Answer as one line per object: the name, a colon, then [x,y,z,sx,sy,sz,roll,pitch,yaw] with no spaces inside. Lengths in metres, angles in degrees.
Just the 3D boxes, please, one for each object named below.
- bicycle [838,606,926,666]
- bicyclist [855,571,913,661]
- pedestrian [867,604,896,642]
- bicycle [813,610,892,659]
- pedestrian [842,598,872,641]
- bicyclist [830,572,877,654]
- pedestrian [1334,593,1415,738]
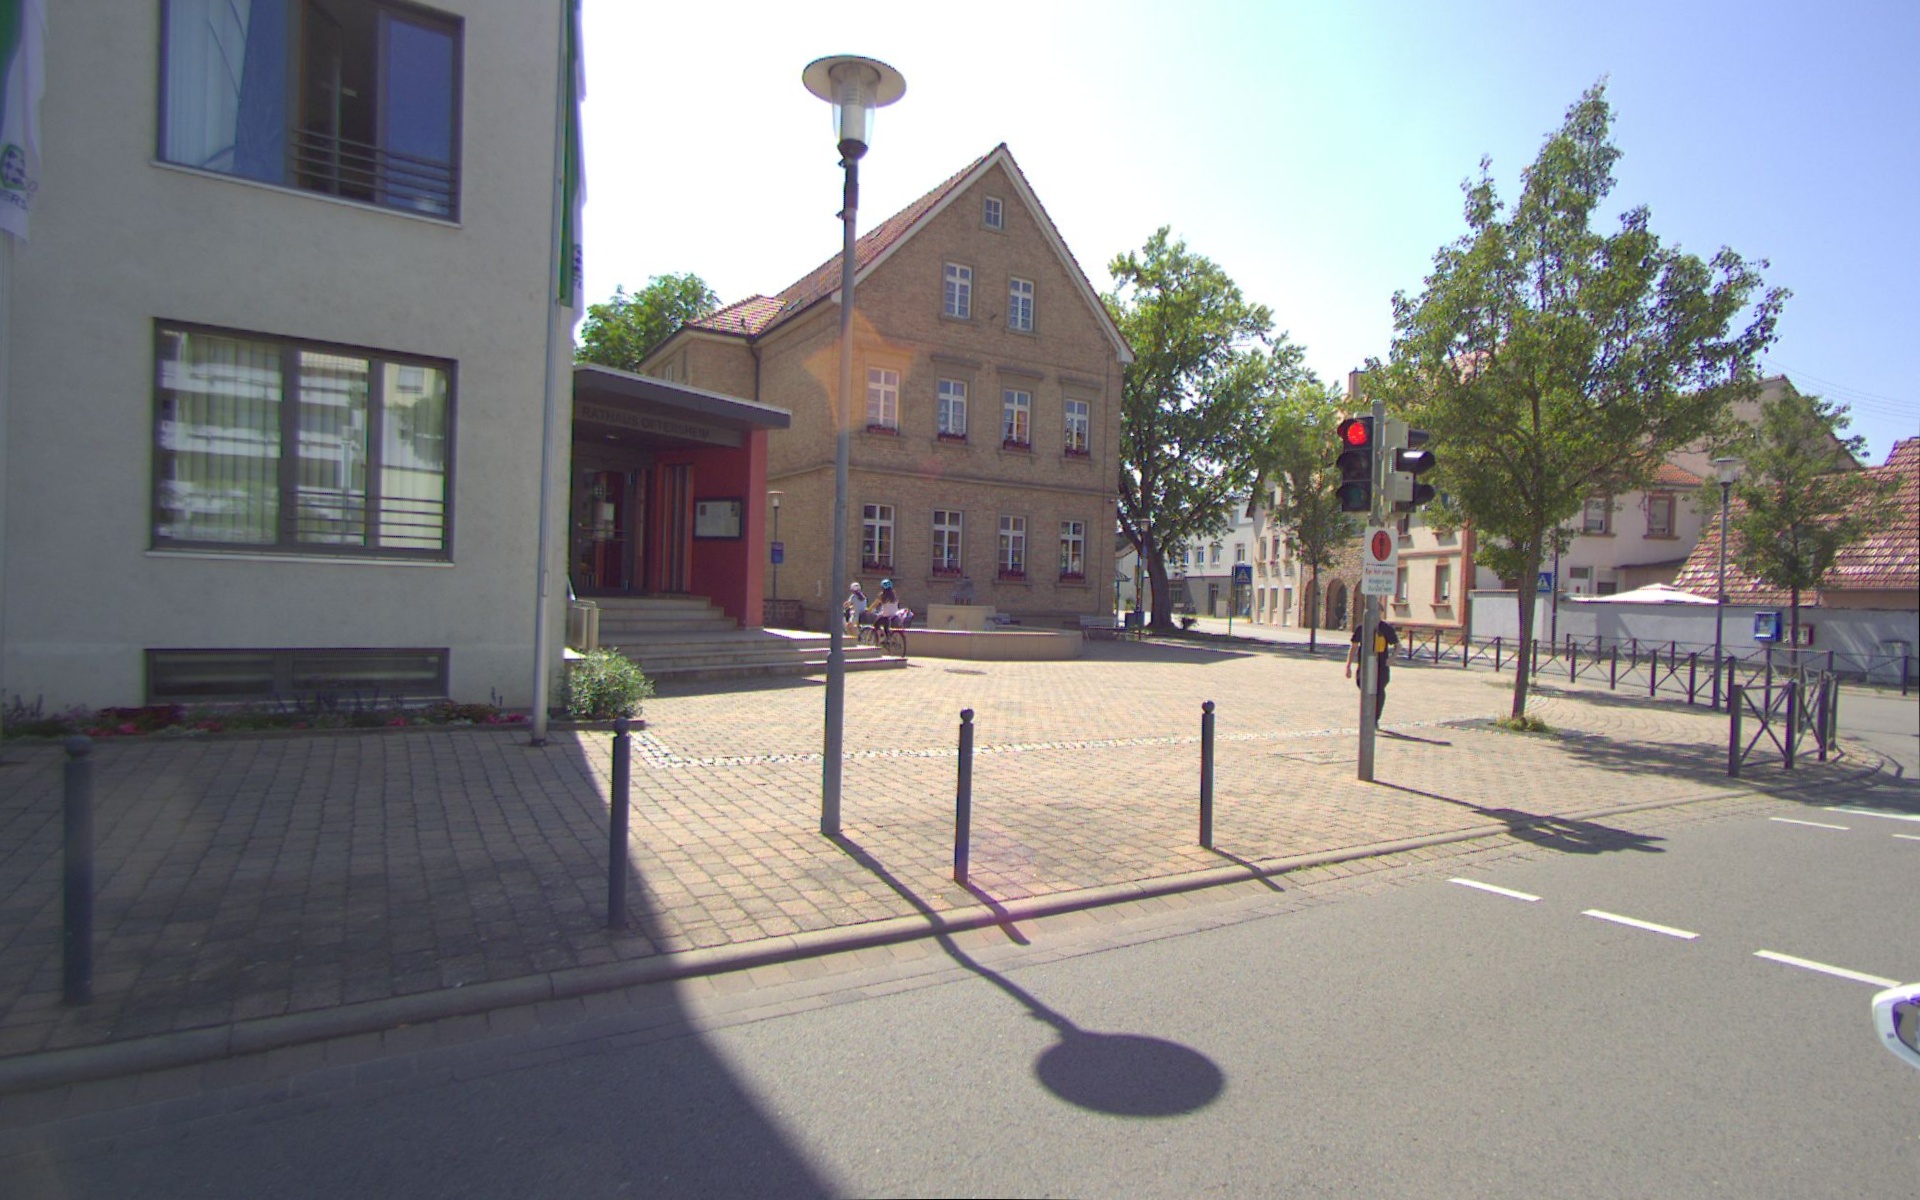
bicycle: [-1.502,0.668,19.047,0.670,0.970,1.874,3,1,-39]
bicyclist: [-1.437,0.303,18.975,0.665,1.602,0.753,4,2,-40]
pedestrian: [-2.258,0.662,28.813,0.611,1.041,0.636,2,0,-29]
bicycle: [-2.284,0.710,21.137,0.671,0.970,1.872,2,-2,-42]
pedestrian: [-2.916,0.541,28.467,0.611,1.186,0.636,2,0,-29]
bicyclist: [-2.240,0.282,21.107,0.666,1.686,0.752,2,-1,-43]
pedestrian: [5.096,0.780,12.405,0.798,1.676,0.851,3,1,19]
